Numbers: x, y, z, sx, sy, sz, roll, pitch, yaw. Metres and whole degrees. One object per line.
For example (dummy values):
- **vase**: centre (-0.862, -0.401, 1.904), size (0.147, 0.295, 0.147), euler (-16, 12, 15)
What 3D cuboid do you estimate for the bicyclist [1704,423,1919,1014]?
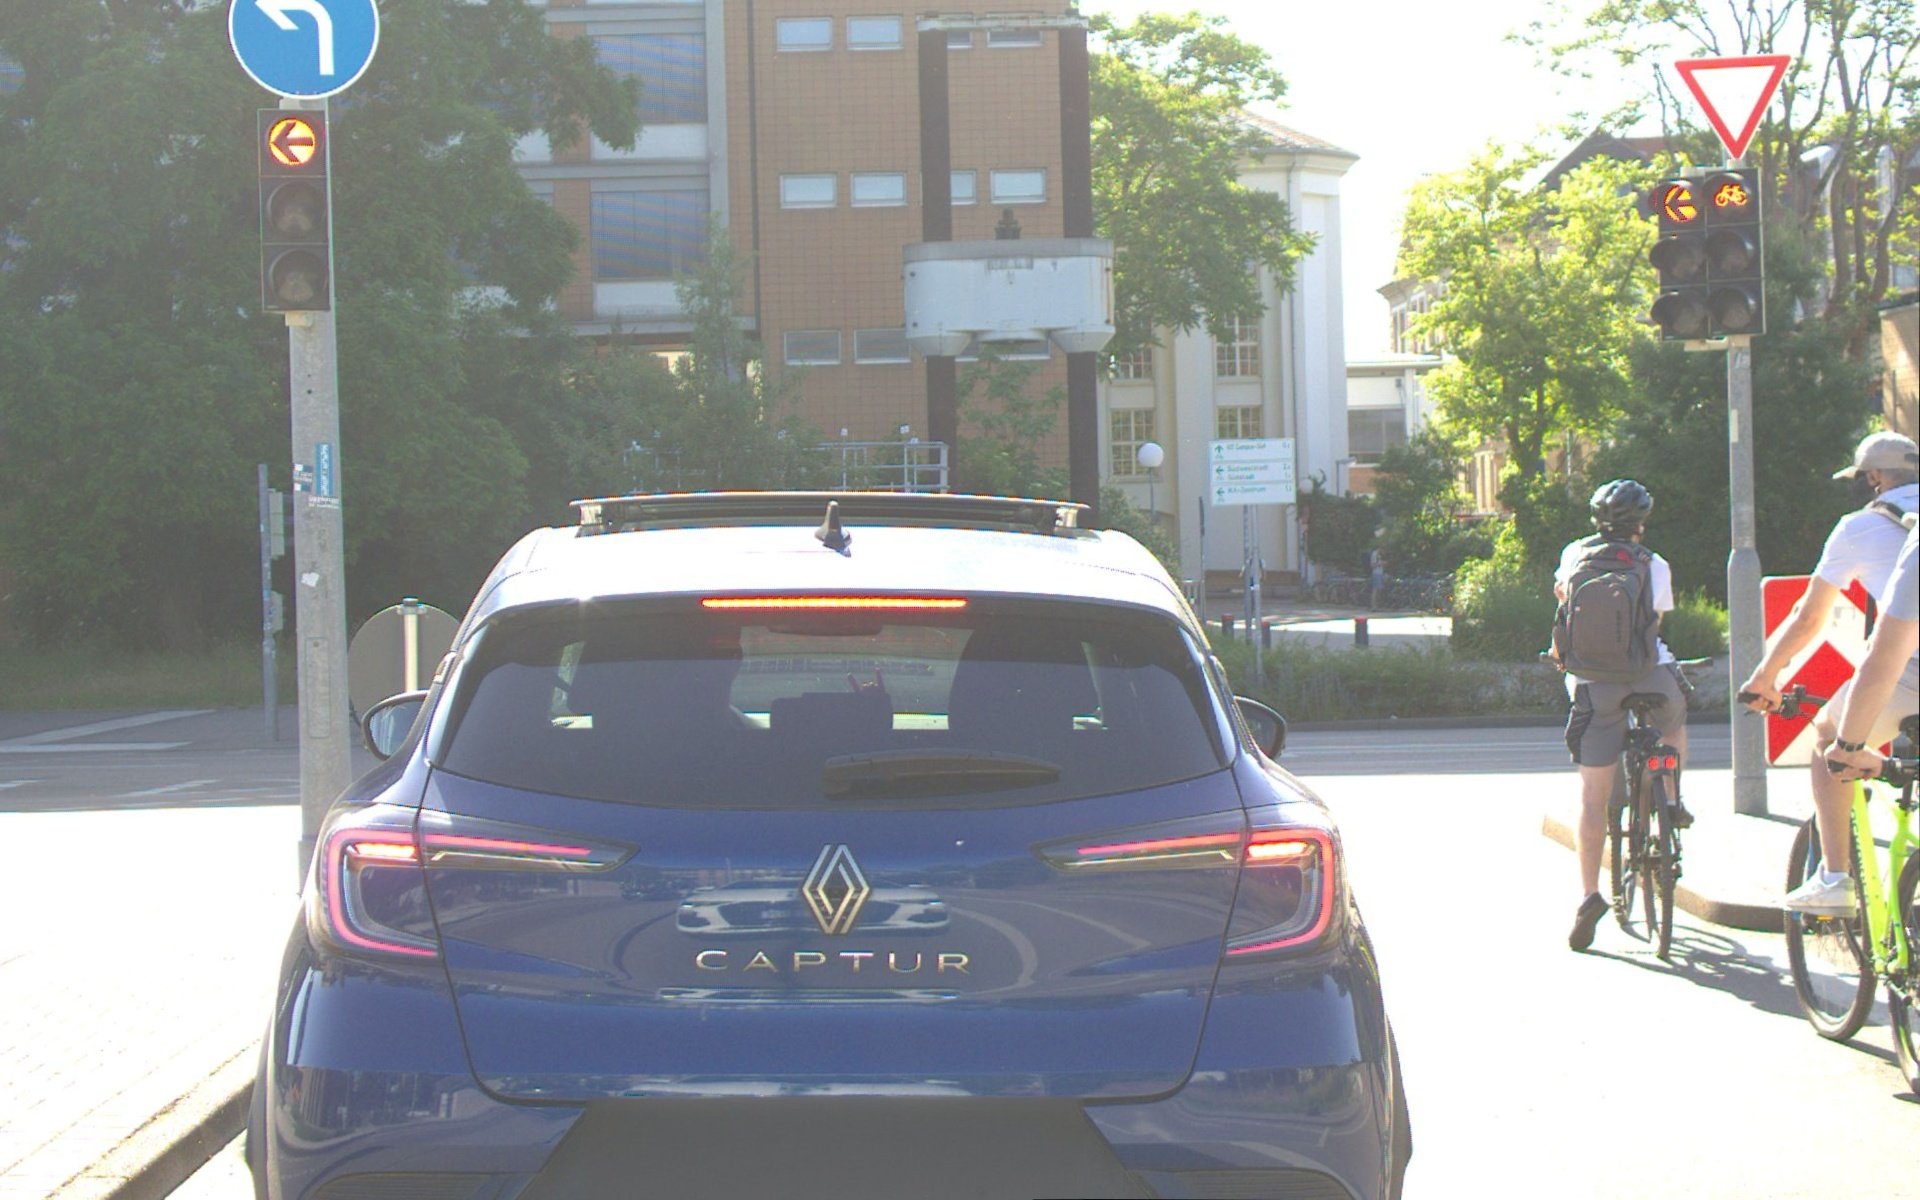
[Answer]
- **bicyclist**: centre (2.596, 0.312, 9.827), size (0.678, 1.589, 1.142), euler (0, 1, -1)

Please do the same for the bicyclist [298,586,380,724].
- **bicyclist**: centre (-7.905, 0.689, 43.798), size (0.755, 1.710, 0.998), euler (-1, 1, 5)

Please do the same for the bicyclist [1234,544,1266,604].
- **bicyclist**: centre (7.257, -0.656, 86.004), size (0.694, 1.476, 0.717), euler (-1, 1, 0)

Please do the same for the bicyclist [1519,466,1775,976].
- **bicyclist**: centre (2.499, 0.418, 12.611), size (0.699, 1.785, 1.142), euler (0, 1, -1)

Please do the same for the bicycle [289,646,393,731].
- **bicycle**: centre (-7.886, 1.120, 43.908), size (0.755, 0.981, 2.093), euler (-1, 1, 5)

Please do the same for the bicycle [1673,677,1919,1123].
- **bicycle**: centre (2.598, 0.799, 9.858), size (0.689, 1.085, 1.922), euler (0, 1, -1)

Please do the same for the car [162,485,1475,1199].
- **car**: centre (-0.270, 0.609, 6.651), size (1.788, 1.580, 3.915), euler (0, 1, -2)

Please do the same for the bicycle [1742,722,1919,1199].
- **bicycle**: centre (2.228, 0.846, 7.269), size (0.689, 1.085, 1.922), euler (0, 1, -1)

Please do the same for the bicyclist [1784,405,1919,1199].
- **bicyclist**: centre (2.227, 0.502, 7.272), size (0.683, 1.785, 1.142), euler (0, 1, -1)

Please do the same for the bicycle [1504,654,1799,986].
- **bicycle**: centre (2.533, 0.772, 12.792), size (0.689, 1.085, 1.922), euler (0, 1, -1)

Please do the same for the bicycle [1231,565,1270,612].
- **bicycle**: centre (7.261, -0.290, 86.058), size (0.694, 1.136, 2.441), euler (-1, 1, -1)
